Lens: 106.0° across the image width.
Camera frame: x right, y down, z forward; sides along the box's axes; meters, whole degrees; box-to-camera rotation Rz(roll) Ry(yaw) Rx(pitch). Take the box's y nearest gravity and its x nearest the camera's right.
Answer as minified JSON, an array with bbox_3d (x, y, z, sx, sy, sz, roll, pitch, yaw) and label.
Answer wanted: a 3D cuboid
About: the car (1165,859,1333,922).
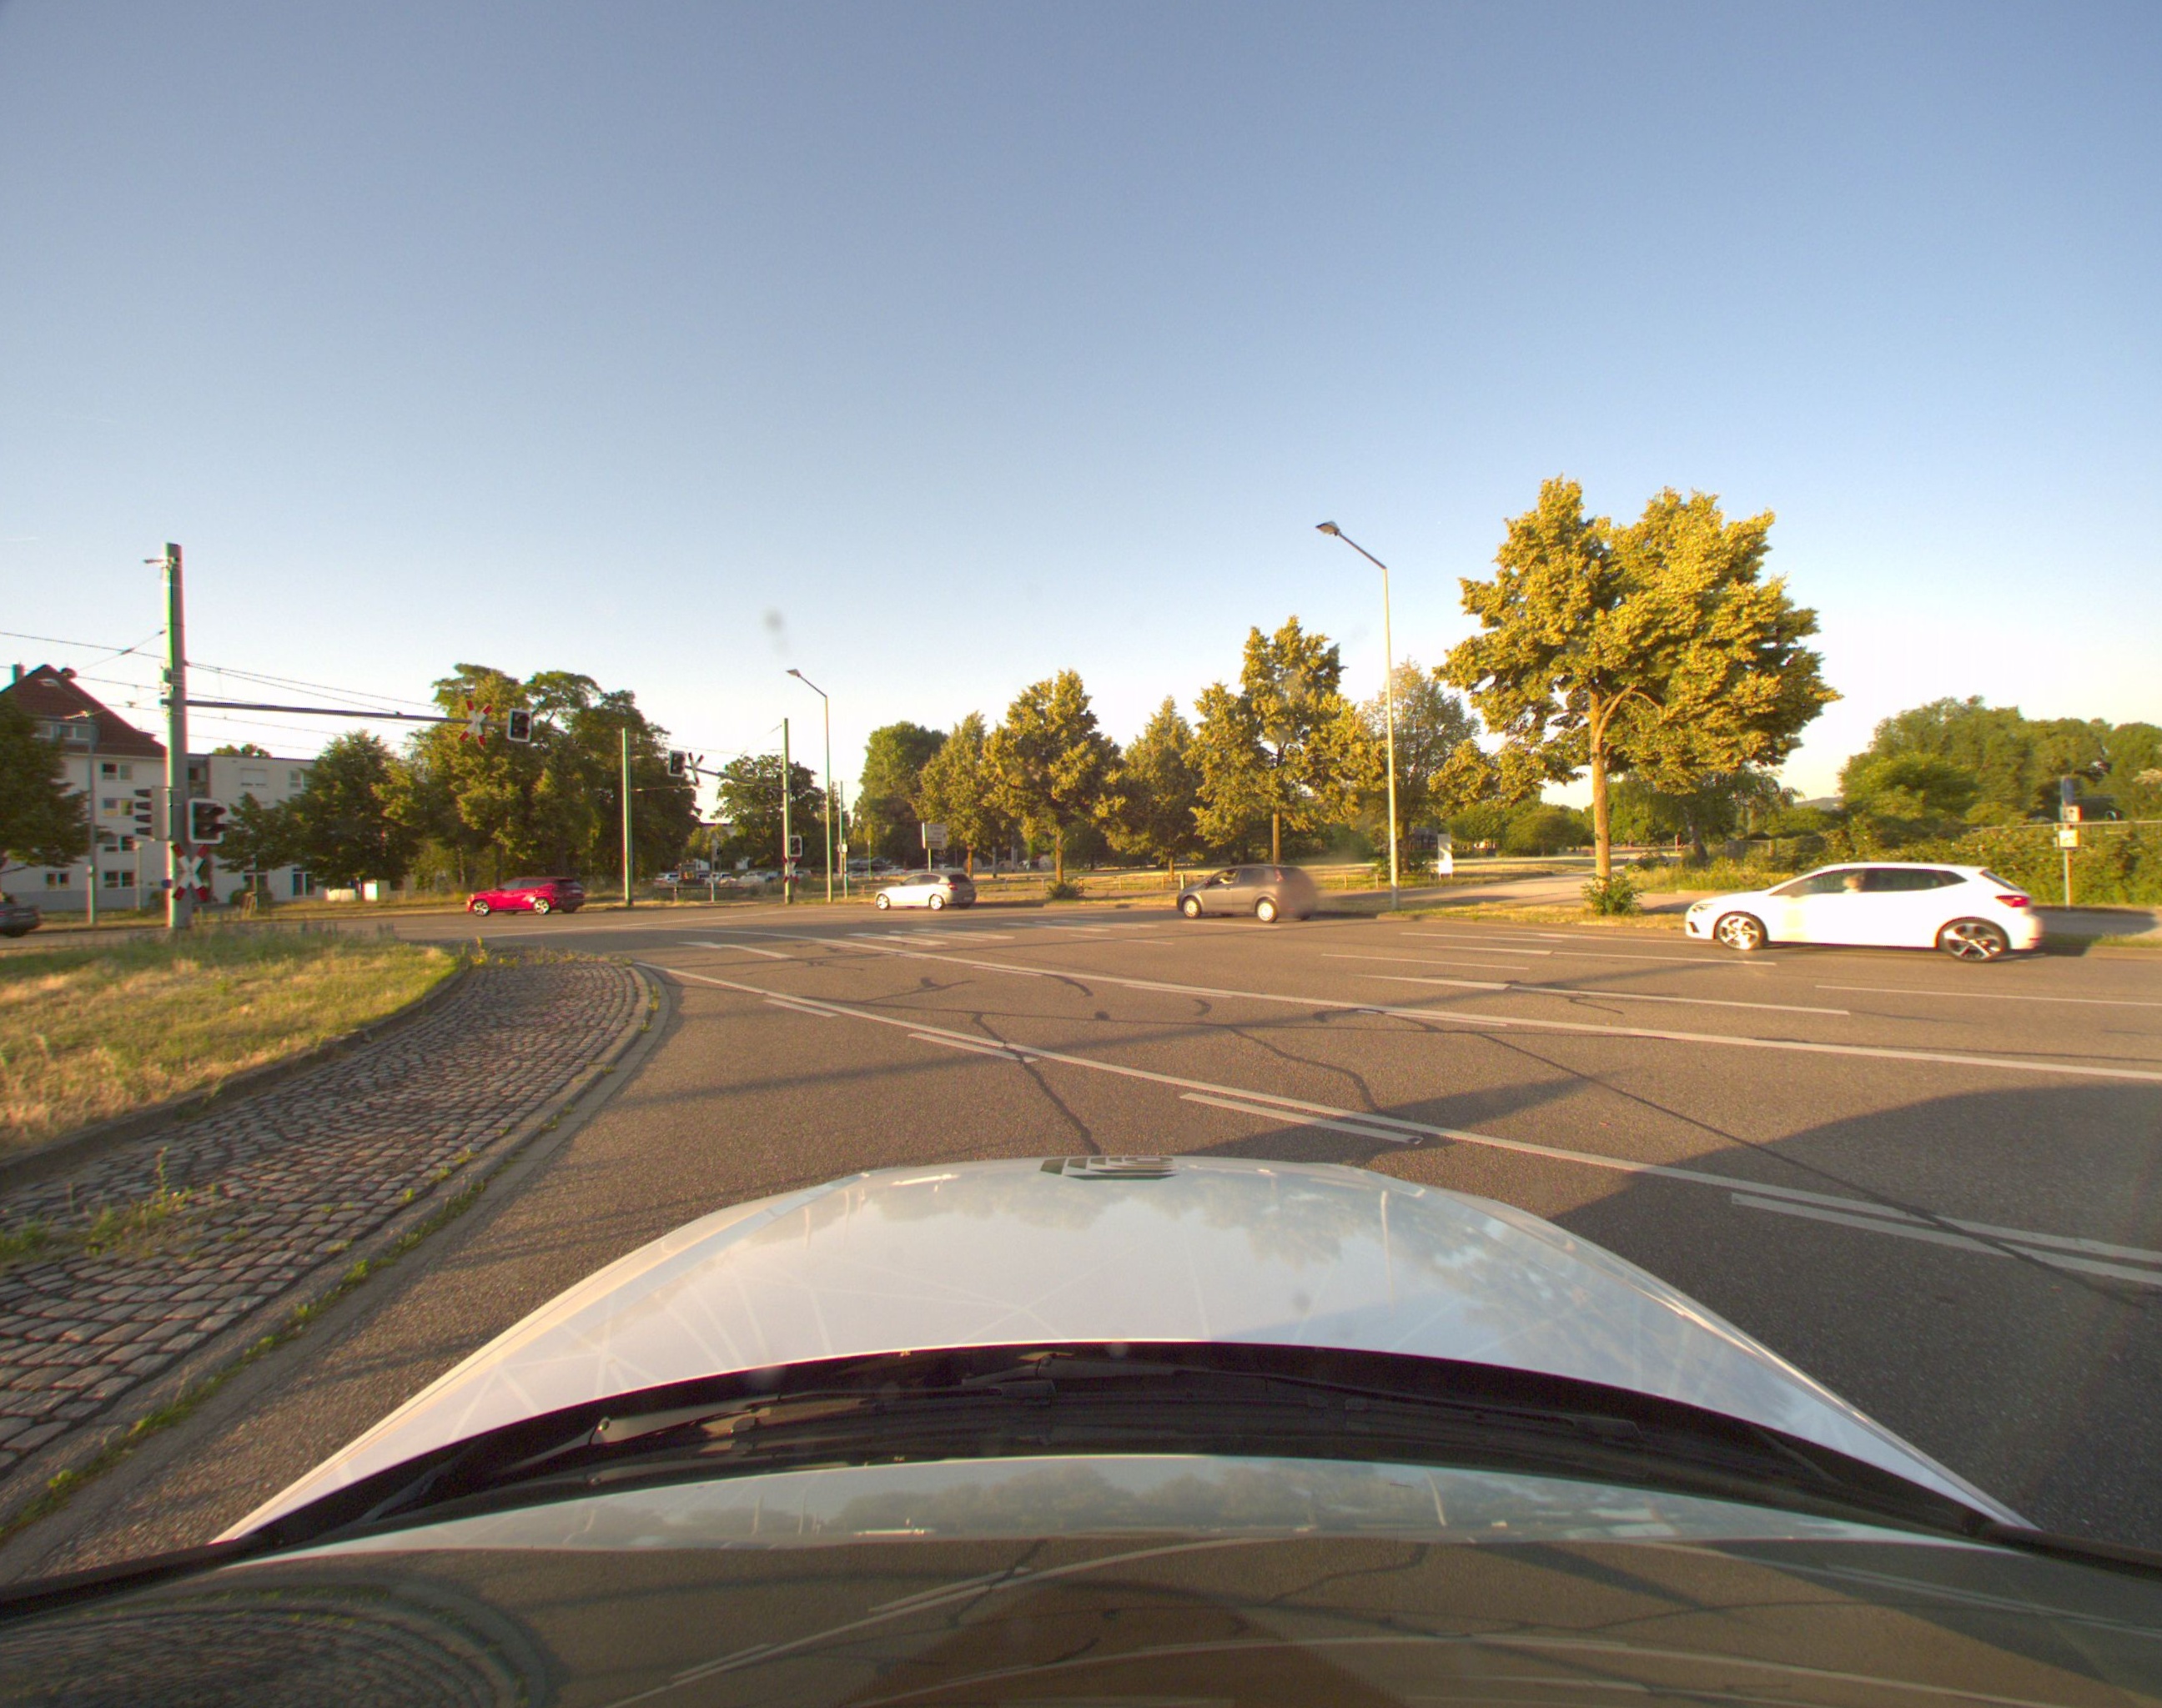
[{"bbox_3d":[4.422,0.928,21.896,1.878,1.454,4.113,-3,1,-41],"label":"car"}]

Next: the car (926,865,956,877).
[{"bbox_3d":[-20.008,2.367,116.491,3.948,1.604,2.013,-2,0,34],"label":"car"}]

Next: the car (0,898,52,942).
[{"bbox_3d":[-40.324,2.422,28.734,4.669,1.464,1.875,-2,0,-19],"label":"car"}]

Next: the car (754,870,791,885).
[{"bbox_3d":[-35.521,2.706,93.680,3.948,1.604,2.013,-2,0,34],"label":"car"}]

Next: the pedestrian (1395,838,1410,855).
[{"bbox_3d":[30.816,-0.721,78.084,1.064,1.617,0.911,-2,0,4],"label":"pedestrian"}]

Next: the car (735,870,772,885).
[{"bbox_3d":[-37.065,2.705,92.070,3.948,1.604,2.013,-2,0,34],"label":"car"}]

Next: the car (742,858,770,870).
[{"bbox_3d":[-57.856,1.802,144.940,1.974,2.013,4.143,-2,0,36],"label":"car"}]

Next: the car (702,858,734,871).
[{"bbox_3d":[-61.943,1.787,139.069,1.974,2.013,4.628,-2,0,36],"label":"car"}]

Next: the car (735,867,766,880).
[{"bbox_3d":[-46.245,2.782,113.951,4.005,1.662,1.984,-2,0,-24],"label":"car"}]

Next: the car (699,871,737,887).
[{"bbox_3d":[-39.034,2.683,87.550,3.948,1.604,2.013,-2,0,34],"label":"car"}]

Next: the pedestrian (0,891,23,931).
[{"bbox_3d":[-50.957,2.705,38.654,0.666,1.893,0.619,0,-1,-4],"label":"pedestrian"}]

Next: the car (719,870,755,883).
[{"bbox_3d":[-46.129,3.013,109.152,1.878,1.662,4.026,-2,0,37],"label":"car"}]

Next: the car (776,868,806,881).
[{"bbox_3d":[-41.315,2.880,116.003,4.001,1.662,1.889,-2,0,-20],"label":"car"}]

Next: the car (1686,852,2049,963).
[{"bbox_3d":[12.279,0.760,13.005,1.879,1.454,3.922,-1,0,-44],"label":"car"}]

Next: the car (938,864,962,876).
[{"bbox_3d":[-20.858,2.522,129.998,2.008,1.752,4.549,-1,1,-35],"label":"car"}]

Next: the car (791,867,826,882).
[{"bbox_3d":[-32.649,2.456,97.619,3.948,1.604,2.013,-2,0,34],"label":"car"}]

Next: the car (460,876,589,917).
[{"bbox_3d":[-24.062,1.814,35.295,4.376,1.573,2.005,-2,0,8],"label":"car"}]

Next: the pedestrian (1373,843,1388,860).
[{"bbox_3d":[28.896,-0.280,78.603,1.064,1.617,0.911,-2,0,4],"label":"pedestrian"}]

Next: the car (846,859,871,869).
[{"bbox_3d":[-41.768,1.882,153.029,1.974,1.816,4.026,-2,0,37],"label":"car"}]

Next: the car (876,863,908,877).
[{"bbox_3d":[-29.394,2.410,126.709,4.578,2.013,1.995,-2,0,-7],"label":"car"}]

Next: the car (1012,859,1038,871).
[{"bbox_3d":[-7.971,1.517,115.274,1.748,1.618,3.954,-1,0,-39],"label":"car"}]

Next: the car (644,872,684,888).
[{"bbox_3d":[-42.665,2.675,83.332,3.948,1.604,2.013,-2,0,34],"label":"car"}]

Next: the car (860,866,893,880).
[{"bbox_3d":[-26.686,2.480,105.996,3.948,1.604,2.013,-2,0,34],"label":"car"}]

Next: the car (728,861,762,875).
[{"bbox_3d":[-51.899,2.120,125.810,1.974,2.013,4.627,-2,0,32],"label":"car"}]

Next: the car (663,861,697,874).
[{"bbox_3d":[-65.681,2.232,133.329,1.974,2.013,4.627,-2,0,32],"label":"car"}]

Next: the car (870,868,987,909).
[{"bbox_3d":[-5.741,1.286,30.552,4.109,1.390,1.880,-2,0,32],"label":"car"}]

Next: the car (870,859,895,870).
[{"bbox_3d":[-35.702,1.883,146.445,3.964,1.706,2.005,-2,0,8],"label":"car"}]

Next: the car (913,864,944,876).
[{"bbox_3d":[-21.483,2.310,114.797,3.948,1.604,2.013,-2,0,34],"label":"car"}]

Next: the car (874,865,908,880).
[{"bbox_3d":[-27.667,2.679,118.521,4.578,2.013,1.995,-2,0,-7],"label":"car"}]

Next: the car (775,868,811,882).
[{"bbox_3d":[-33.713,2.446,95.439,3.948,1.604,2.013,-2,0,34],"label":"car"}]

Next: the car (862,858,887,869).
[{"bbox_3d":[-37.979,1.773,150.051,1.975,2.013,4.025,-2,0,42],"label":"car"}]
